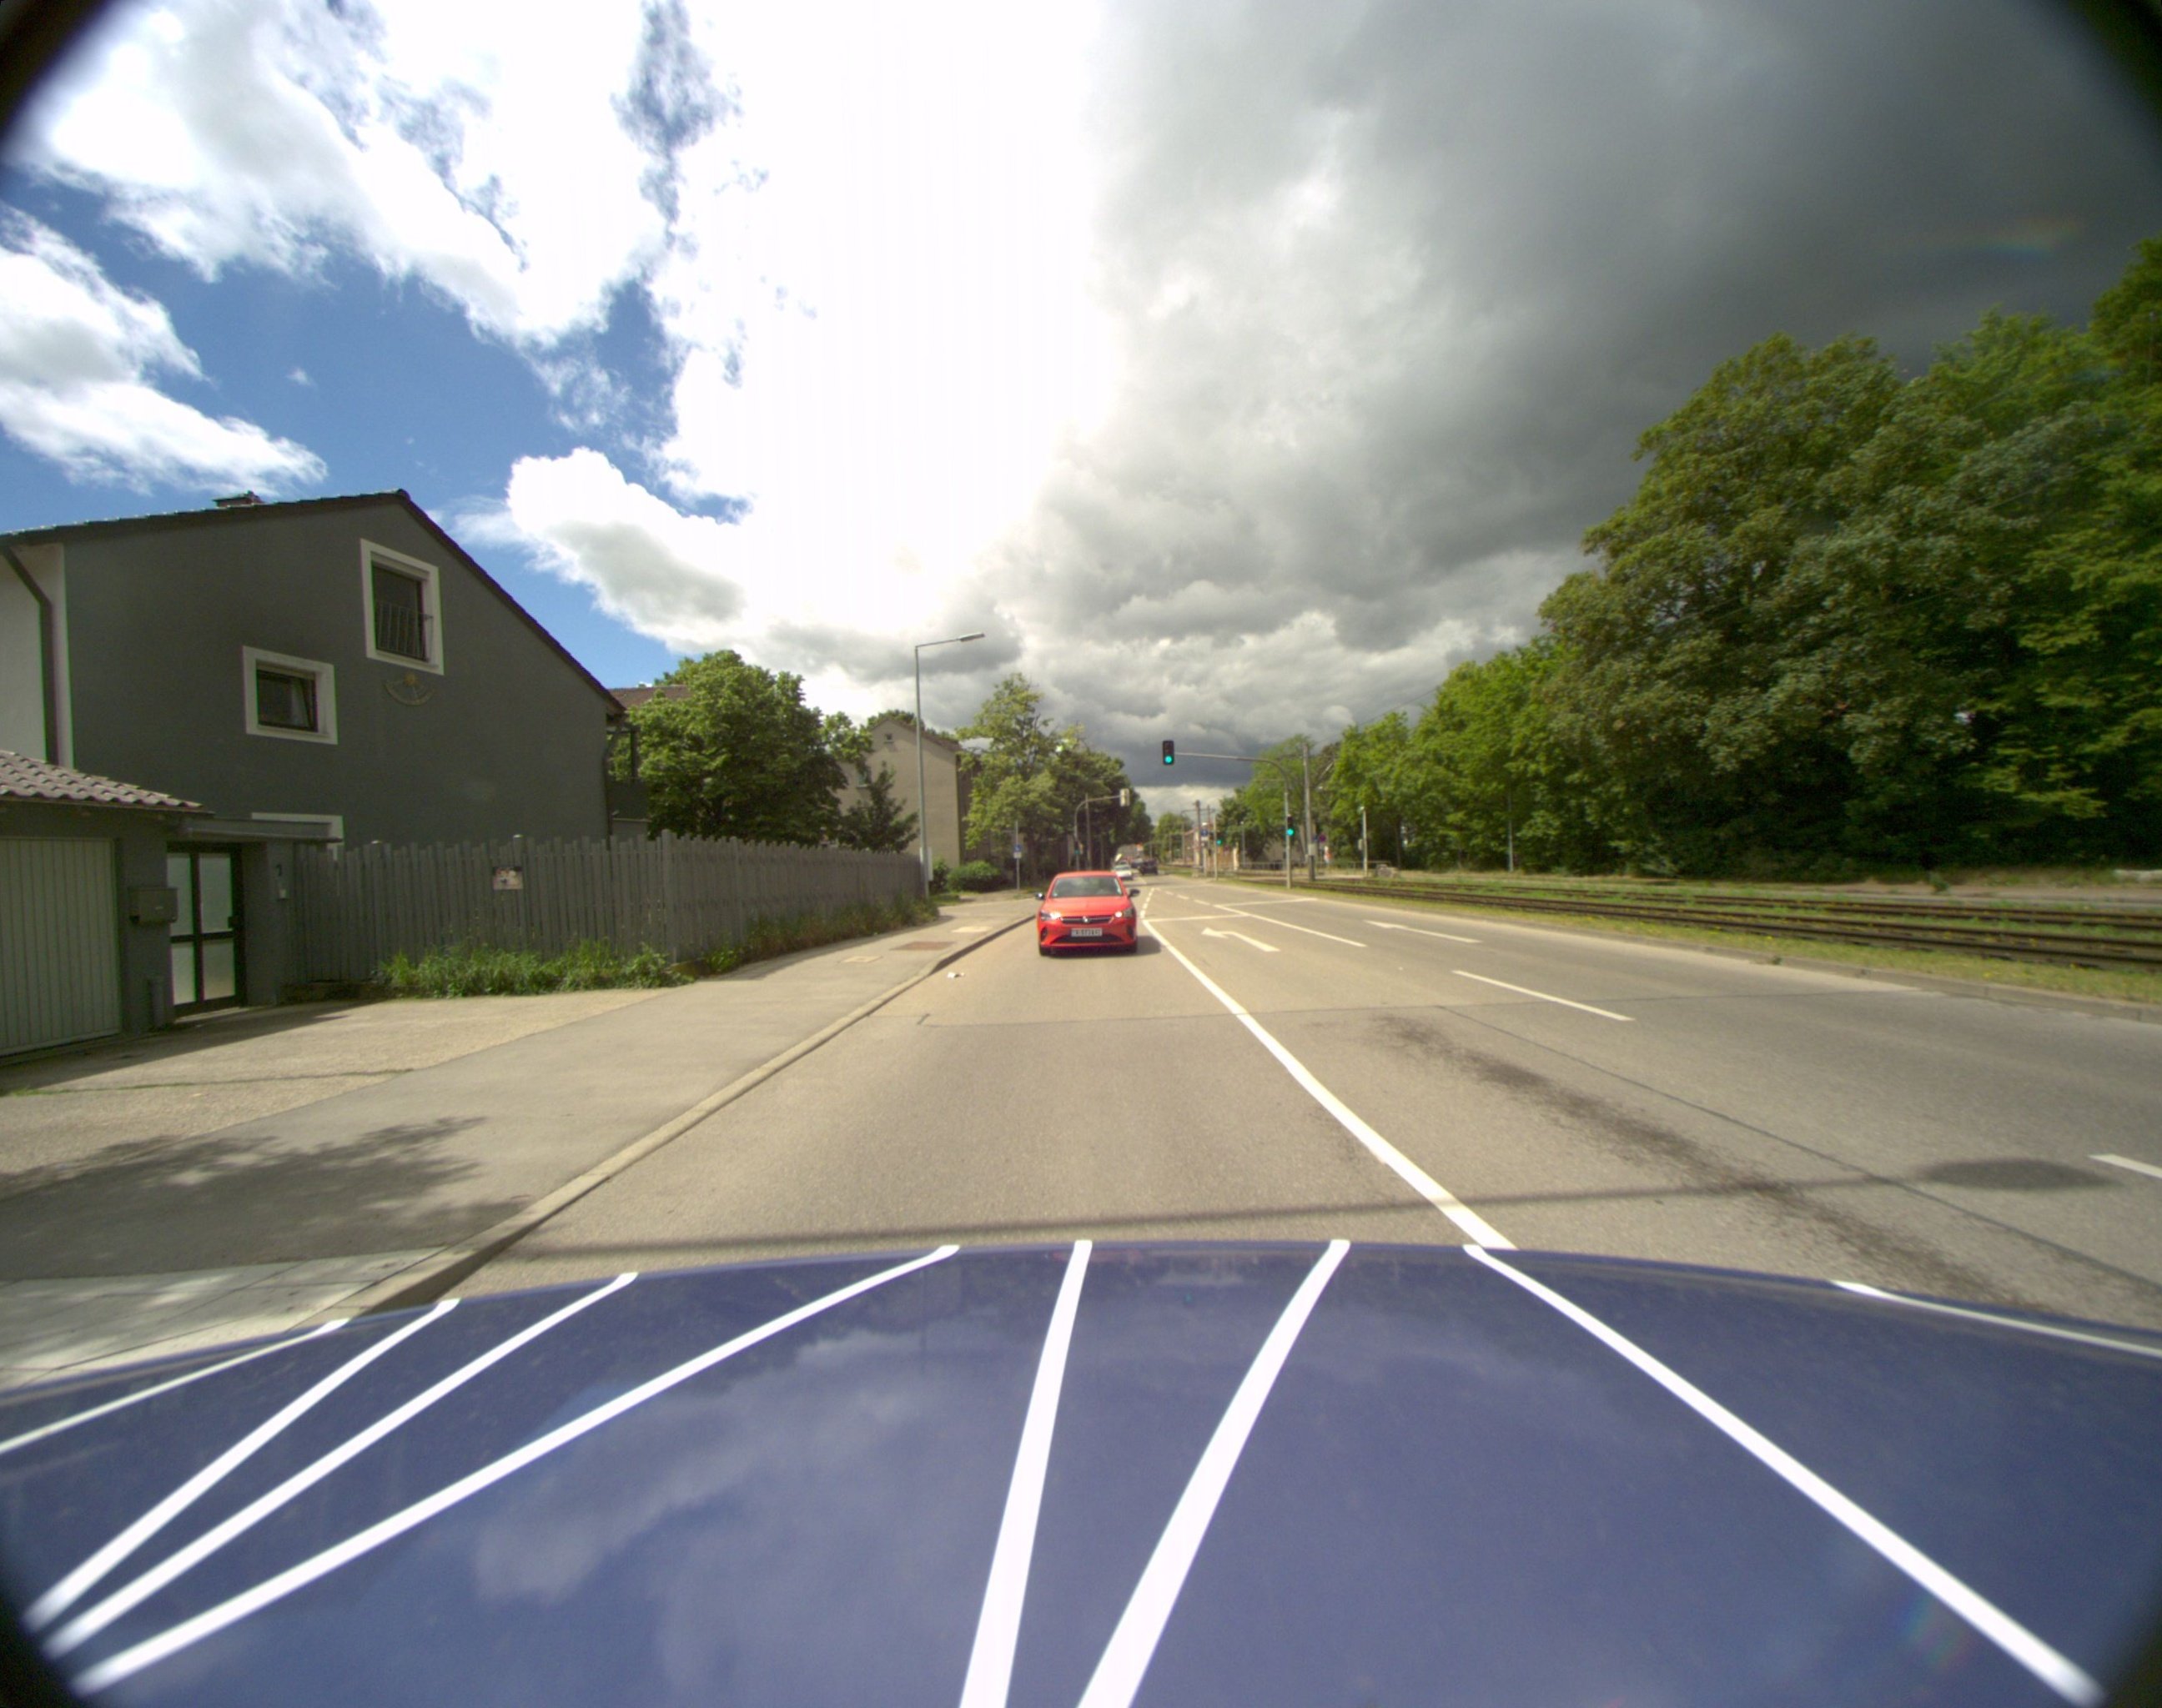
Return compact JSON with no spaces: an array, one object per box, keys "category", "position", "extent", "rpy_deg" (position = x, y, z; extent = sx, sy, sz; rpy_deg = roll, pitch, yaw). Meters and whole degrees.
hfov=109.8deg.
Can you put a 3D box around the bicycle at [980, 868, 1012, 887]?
[{"category":"bicycle","position":[-6.158,1.723,55.131],"extent":[2.170,1.275,0.681],"rpy_deg":[-2,1,12]}]

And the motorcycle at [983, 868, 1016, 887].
[{"category":"motorcycle","position":[-5.986,1.719,55.915],"extent":[2.208,1.275,0.681],"rpy_deg":[-2,1,12]}]

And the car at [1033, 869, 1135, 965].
[{"category":"car","position":[0.152,1.060,14.286],"extent":[1.665,1.512,3.787],"rpy_deg":[0,0,3]}]

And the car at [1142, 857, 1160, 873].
[{"category":"car","position":[8.130,1.294,88.146],"extent":[1.711,1.666,4.229],"rpy_deg":[-4,0,2]}]

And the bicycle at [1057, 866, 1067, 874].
[{"category":"bicycle","position":[-2.626,2.231,105.177],"extent":[0.437,1.074,1.750],"rpy_deg":[-4,0,-32]}]

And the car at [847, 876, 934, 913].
[{"category":"car","position":[-9.774,2.061,39.191],"extent":[3.998,1.544,1.938],"rpy_deg":[-3,0,-4]}]

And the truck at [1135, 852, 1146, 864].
[{"category":"truck","position":[14.745,0.999,187.818],"extent":[2.096,2.723,5.098],"rpy_deg":[-4,0,1]}]

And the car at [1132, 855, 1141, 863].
[{"category":"car","position":[11.417,0.962,156.673],"extent":[1.585,1.476,3.808],"rpy_deg":[-4,-1,5]}]
